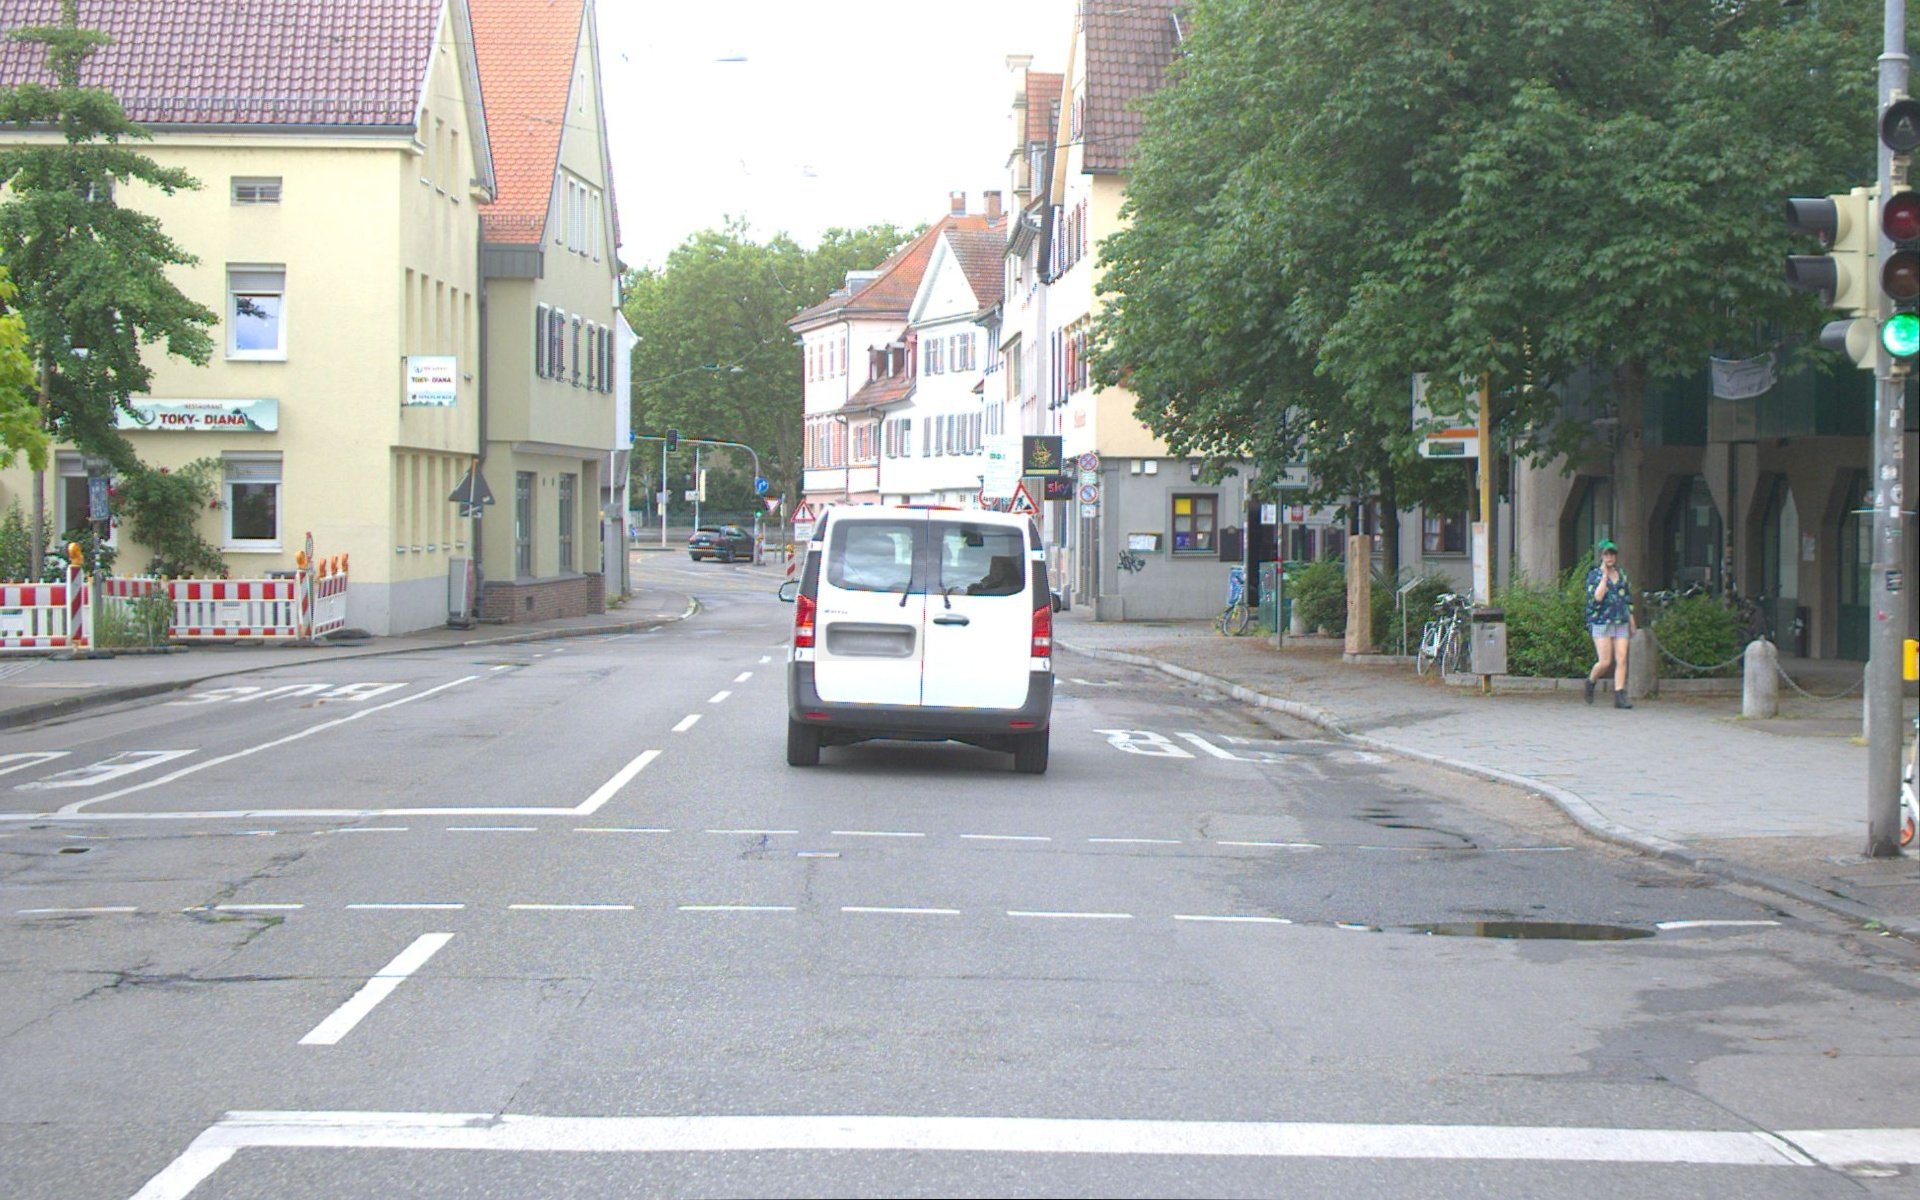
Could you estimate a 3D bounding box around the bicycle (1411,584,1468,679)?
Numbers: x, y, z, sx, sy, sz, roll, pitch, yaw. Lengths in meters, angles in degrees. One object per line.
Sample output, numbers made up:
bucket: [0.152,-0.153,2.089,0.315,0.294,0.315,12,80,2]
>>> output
bicycle: [5.931,0.376,42.585,0.333,1.137,1.959,1,0,-2]

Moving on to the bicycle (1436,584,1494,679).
bicycle: [6.266,0.374,42.698,0.333,1.138,1.959,1,0,-2]

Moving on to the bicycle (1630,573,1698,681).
bicycle: [8.631,0.316,42.169,0.333,1.296,1.959,1,0,-2]

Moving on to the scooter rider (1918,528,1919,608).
scooter rider: [5.172,0.438,17.277,0.452,1.626,0.505,-1,-1,-15]

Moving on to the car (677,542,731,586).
car: [-12.063,-1.675,161.754,1.934,2.007,4.001,1,0,-13]

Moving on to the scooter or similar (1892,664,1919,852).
scooter or similar: [5.185,0.781,17.204,0.661,0.942,0.820,-2,-1,-12]

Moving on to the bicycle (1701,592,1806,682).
bicycle: [9.741,0.441,42.281,0.544,1.066,2.292,0,1,-6]

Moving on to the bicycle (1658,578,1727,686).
bicycle: [9.001,0.379,42.273,0.333,1.296,1.959,1,0,-2]

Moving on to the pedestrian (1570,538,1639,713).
pedestrian: [6.406,0.248,34.191,0.602,1.710,0.859,1,0,6]

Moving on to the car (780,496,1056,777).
car: [-0.284,0.249,25.587,1.872,1.905,4.000,1,0,0]

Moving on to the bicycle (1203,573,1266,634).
bicycle: [5.020,0.061,62.940,0.499,1.102,1.638,0,1,-21]
